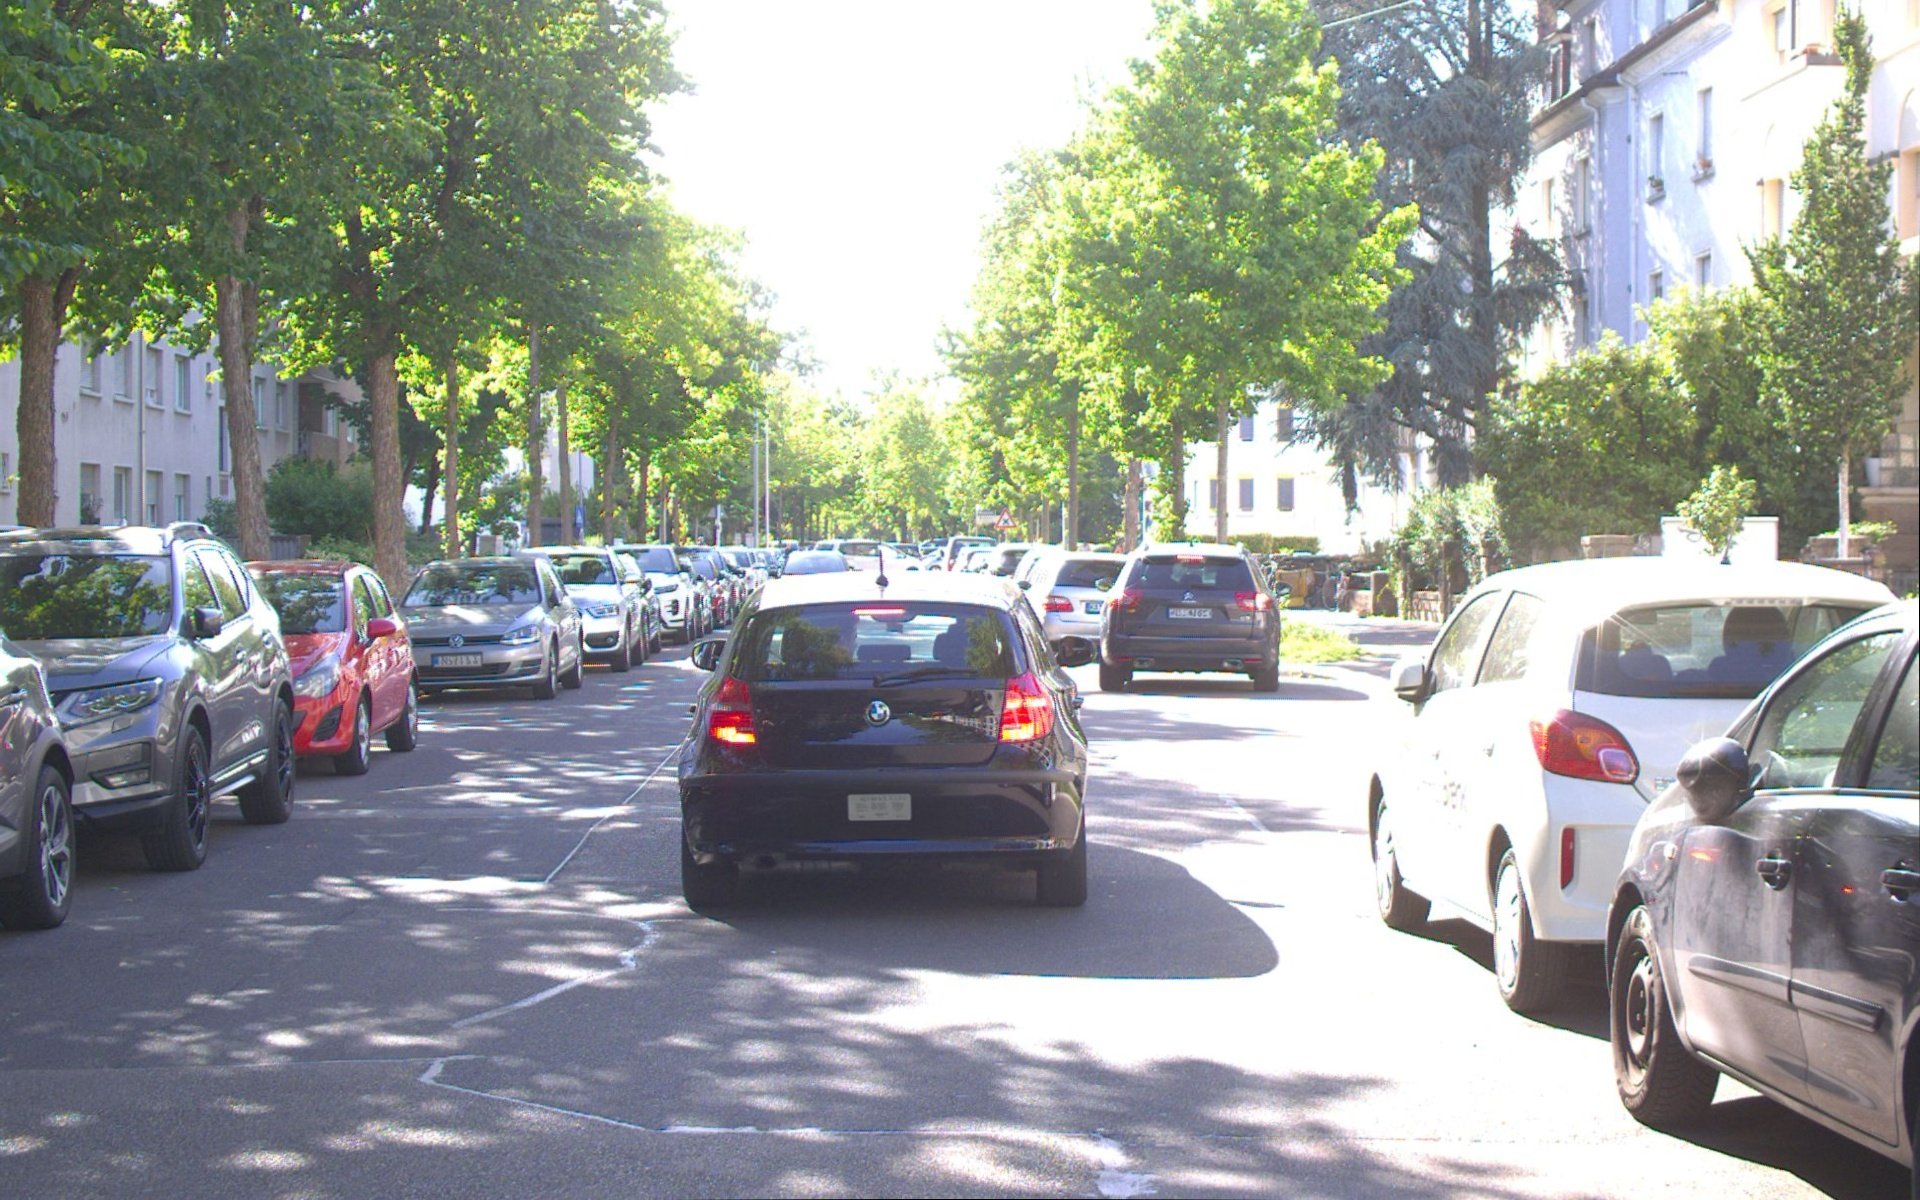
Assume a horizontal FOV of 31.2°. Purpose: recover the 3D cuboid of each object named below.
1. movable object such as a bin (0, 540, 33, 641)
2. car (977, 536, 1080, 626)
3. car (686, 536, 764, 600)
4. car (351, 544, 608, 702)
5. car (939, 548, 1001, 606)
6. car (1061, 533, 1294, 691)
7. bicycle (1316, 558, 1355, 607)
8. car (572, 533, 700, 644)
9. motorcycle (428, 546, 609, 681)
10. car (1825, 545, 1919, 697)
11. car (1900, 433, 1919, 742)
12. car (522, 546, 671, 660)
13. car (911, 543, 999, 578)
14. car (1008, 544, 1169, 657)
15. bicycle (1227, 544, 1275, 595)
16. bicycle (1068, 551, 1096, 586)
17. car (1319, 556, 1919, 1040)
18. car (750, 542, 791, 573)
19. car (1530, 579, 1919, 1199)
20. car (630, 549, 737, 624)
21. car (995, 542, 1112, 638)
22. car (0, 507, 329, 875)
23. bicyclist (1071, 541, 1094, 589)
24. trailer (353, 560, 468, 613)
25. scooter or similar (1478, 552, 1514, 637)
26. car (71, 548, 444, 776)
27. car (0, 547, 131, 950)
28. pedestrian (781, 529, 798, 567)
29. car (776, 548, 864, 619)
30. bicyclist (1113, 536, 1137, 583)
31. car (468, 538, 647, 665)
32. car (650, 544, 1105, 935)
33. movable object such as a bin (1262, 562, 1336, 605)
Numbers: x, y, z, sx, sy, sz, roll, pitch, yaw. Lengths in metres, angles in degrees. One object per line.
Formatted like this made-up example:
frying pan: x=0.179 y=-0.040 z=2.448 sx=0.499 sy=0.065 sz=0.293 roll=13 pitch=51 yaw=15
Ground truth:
movable object such as a bin: x=-12.815 y=-0.128 z=45.351 sx=0.929 sy=1.319 sz=1.379 roll=-1 pitch=1 yaw=-7
car: x=1.338 y=-0.410 z=68.720 sx=1.926 sy=1.646 sz=5.095 roll=2 pitch=1 yaw=0
car: x=-6.022 y=-0.837 z=88.356 sx=1.811 sy=1.590 sz=4.233 roll=-1 pitch=1 yaw=-2
car: x=-4.938 y=0.189 z=35.942 sx=2.043 sy=1.519 sz=4.606 roll=0 pitch=1 yaw=0
car: x=0.324 y=-0.808 z=118.731 sx=1.970 sy=1.942 sz=4.986 roll=0 pitch=1 yaw=-2
car: x=2.197 y=0.112 z=36.013 sx=1.895 sy=1.519 sz=4.968 roll=1 pitch=0 yaw=-3
bicycle: x=7.650 y=-0.356 z=70.146 sx=0.581 sy=0.971 sz=1.903 roll=-1 pitch=1 yaw=0
car: x=-5.188 y=-0.213 z=55.514 sx=1.728 sy=1.612 sz=4.367 roll=-3 pitch=1 yaw=-2
motorcycle: x=-5.124 y=0.142 z=39.788 sx=0.987 sy=1.498 sz=2.233 roll=-2 pitch=1 yaw=-41
car: x=10.929 y=0.196 z=33.679 sx=4.721 sy=1.464 sz=1.952 roll=0 pitch=1 yaw=13
car: x=9.812 y=-0.105 z=25.839 sx=5.039 sy=2.298 sz=2.235 roll=-1 pitch=1 yaw=-24
car: x=-5.123 y=-0.001 z=48.952 sx=1.728 sy=1.442 sz=4.821 roll=-2 pitch=1 yaw=-2
car: x=-0.252 y=-1.844 z=160.219 sx=3.986 sy=1.581 sz=1.727 roll=0 pitch=1 yaw=-5
car: x=1.755 y=-0.033 z=48.428 sx=1.821 sy=1.464 sz=4.910 roll=2 pitch=1 yaw=-3
bicycle: x=7.273 y=-0.767 z=86.017 sx=0.838 sy=1.253 sz=2.232 roll=1 pitch=1 yaw=-5
bicycle: x=4.109 y=-1.067 z=116.087 sx=0.683 sy=1.149 sz=2.403 roll=0 pitch=1 yaw=-4
car: x=2.513 y=0.596 z=12.723 sx=1.732 sy=1.482 sz=4.010 roll=1 pitch=1 yaw=-3
car: x=-9.779 y=-2.190 z=177.938 sx=1.993 sy=1.579 sz=4.000 roll=0 pitch=1 yaw=-1
car: x=2.648 y=0.728 z=8.155 sx=1.670 sy=1.445 sz=4.179 roll=2 pitch=1 yaw=-3
car: x=-5.426 y=-0.290 z=67.844 sx=1.779 sy=1.374 sz=4.263 roll=-2 pitch=1 yaw=-1
car: x=1.574 y=-0.195 z=59.142 sx=1.654 sy=1.527 sz=3.970 roll=2 pitch=1 yaw=-3
car: x=-4.590 y=0.385 z=18.210 sx=1.767 sy=1.682 sz=4.815 roll=-1 pitch=1 yaw=-2
bicyclist: x=4.121 y=-1.173 z=115.903 sx=0.677 sy=1.604 sz=0.922 roll=0 pitch=1 yaw=-4
trailer: x=-11.165 y=-0.288 z=70.046 sx=1.789 sy=1.030 sz=3.281 roll=0 pitch=1 yaw=1
scooter or similar: x=7.739 y=-0.087 z=49.632 sx=0.402 sy=1.181 sz=1.205 roll=0 pitch=2 yaw=14
car: x=-4.885 y=0.370 z=24.467 sx=1.856 sy=1.464 sz=4.182 roll=0 pitch=1 yaw=-1
car: x=-4.532 y=0.570 z=12.976 sx=1.769 sy=1.526 sz=4.420 roll=0 pitch=1 yaw=0
pedestrian: x=-8.431 y=-2.569 z=169.550 sx=0.715 sy=1.894 sz=0.837 roll=0 pitch=1 yaw=-11
car: x=-3.042 y=-0.383 z=74.810 sx=1.809 sy=1.441 sz=4.367 roll=-2 pitch=1 yaw=-2
bicyclist: x=5.580 y=-1.368 z=116.144 sx=0.676 sy=1.548 sz=1.022 roll=0 pitch=1 yaw=-5
car: x=-5.062 y=-0.030 z=43.765 sx=2.063 sy=1.519 sz=4.723 roll=0 pitch=1 yaw=-4
car: x=-0.379 y=0.520 z=15.624 sx=1.782 sy=1.518 sz=4.000 roll=-1 pitch=1 yaw=-2
movable object such as a bin: x=7.277 y=-0.353 z=73.651 sx=1.222 sy=0.901 sz=1.663 roll=0 pitch=1 yaw=19
